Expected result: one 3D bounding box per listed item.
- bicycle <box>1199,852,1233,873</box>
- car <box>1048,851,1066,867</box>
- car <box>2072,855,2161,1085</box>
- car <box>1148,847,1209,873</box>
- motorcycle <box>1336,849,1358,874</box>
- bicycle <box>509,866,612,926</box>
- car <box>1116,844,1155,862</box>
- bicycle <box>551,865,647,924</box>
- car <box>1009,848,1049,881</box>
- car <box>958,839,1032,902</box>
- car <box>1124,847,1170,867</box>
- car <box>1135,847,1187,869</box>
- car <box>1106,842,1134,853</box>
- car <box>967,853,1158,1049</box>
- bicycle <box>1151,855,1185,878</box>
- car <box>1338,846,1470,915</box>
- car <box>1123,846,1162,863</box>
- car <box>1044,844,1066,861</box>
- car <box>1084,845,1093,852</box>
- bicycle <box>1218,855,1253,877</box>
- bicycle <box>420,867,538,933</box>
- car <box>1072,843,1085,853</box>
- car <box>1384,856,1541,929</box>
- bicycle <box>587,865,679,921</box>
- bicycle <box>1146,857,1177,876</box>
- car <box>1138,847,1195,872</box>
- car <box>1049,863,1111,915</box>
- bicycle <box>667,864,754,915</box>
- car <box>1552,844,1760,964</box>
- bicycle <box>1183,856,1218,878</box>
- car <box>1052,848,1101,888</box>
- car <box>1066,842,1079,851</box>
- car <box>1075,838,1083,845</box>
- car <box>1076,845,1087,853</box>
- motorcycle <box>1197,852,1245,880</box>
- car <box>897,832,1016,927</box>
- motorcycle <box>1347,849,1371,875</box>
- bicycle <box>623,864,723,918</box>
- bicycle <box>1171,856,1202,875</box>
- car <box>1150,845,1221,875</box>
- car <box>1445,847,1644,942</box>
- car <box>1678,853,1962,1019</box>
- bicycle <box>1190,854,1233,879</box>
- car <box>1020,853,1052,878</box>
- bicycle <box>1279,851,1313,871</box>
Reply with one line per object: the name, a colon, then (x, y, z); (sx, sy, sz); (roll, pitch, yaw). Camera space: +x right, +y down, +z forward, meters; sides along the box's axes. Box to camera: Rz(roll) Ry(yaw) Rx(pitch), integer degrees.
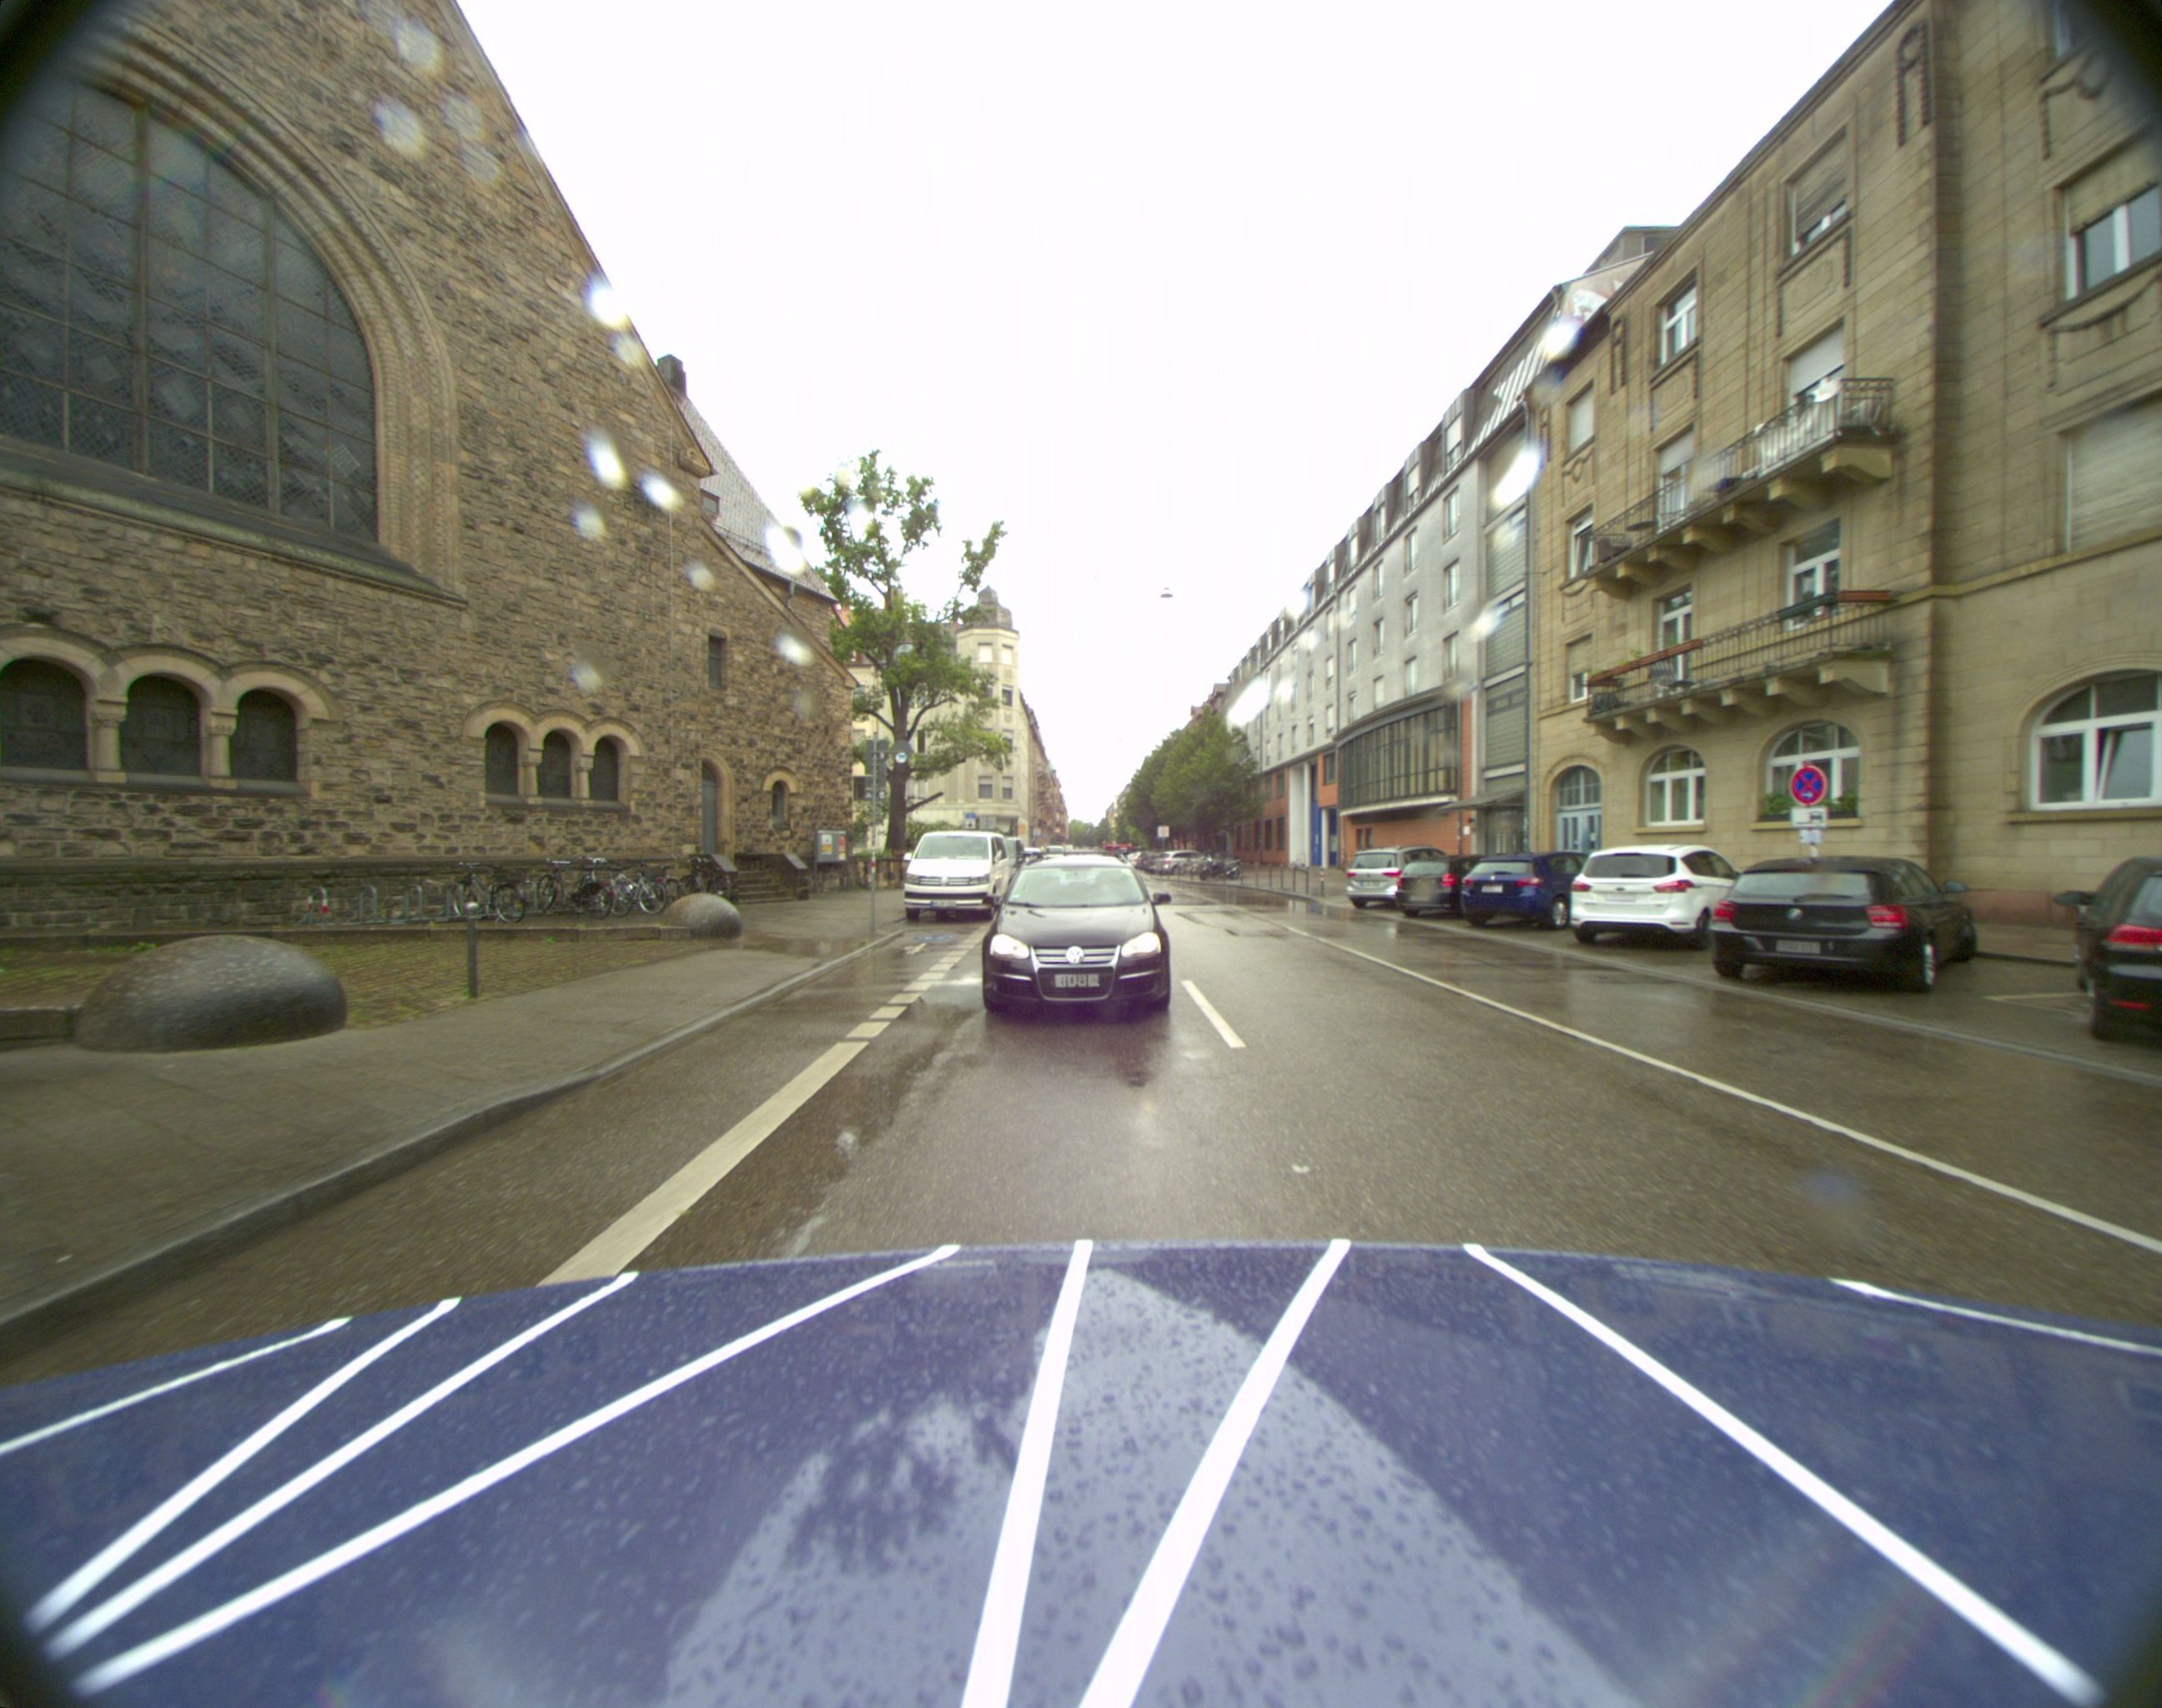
bicycle: (7.234, 0.461, 40.783); (1.688, 1.067, 0.544); (1, 1, -3)
car: (-1.976, 0.372, 63.069); (1.356, 1.285, 3.013); (1, 1, 1)
car: (9.585, 0.832, 6.246); (3.766, 1.535, 1.624); (-2, 1, -39)
car: (6.780, 0.410, 52.906); (3.803, 1.705, 1.998); (1, 1, -10)
motorcycle: (13.589, 0.358, 38.822); (0.546, 1.221, 1.676); (1, 1, 1)
bicycle: (-9.872, 0.771, 14.415); (1.924, 1.054, 0.582); (1, 1, 20)
car: (6.401, -0.120, 89.250); (4.006, 2.002, 1.995); (0, 1, -28)
bicycle: (-9.533, 0.779, 15.022); (1.923, 1.054, 0.582); (1, 1, 22)
car: (-2.556, 0.469, 37.841); (1.674, 1.540, 3.918); (1, 1, 1)
car: (-2.690, 0.471, 24.669); (1.837, 1.835, 4.295); (1, 1, 1)
car: (5.956, 0.261, 68.877); (3.803, 1.705, 1.998); (1, 1, -10)
car: (6.432, 0.333, 61.569); (3.803, 1.705, 1.998); (1, 1, -10)
car: (6.028, -1.043, 117.000); (3.809, 1.705, 1.995); (0, 1, -33)
car: (-0.132, 0.791, 8.248); (1.547, 1.553, 4.070); (1, 1, 1)
bicycle: (4.732, 0.689, 41.544); (1.688, 1.067, 0.544); (-5, 1, -2)
car: (9.020, 0.655, 21.095); (3.931, 1.720, 1.811); (0, 1, -41)
car: (6.508, 0.063, 80.818); (3.803, 1.705, 1.904); (1, 1, -10)
car: (-2.331, -0.142, 70.182); (1.922, 1.470, 4.220); (1, 1, -1)
car: (1.814, -1.290, 184.107); (1.998, 1.705, 4.375); (1, 1, 4)
bicycle: (8.152, 0.633, 40.013); (1.688, 1.067, 0.544); (-2, 1, -3)
bicycle: (-10.458, 0.782, 13.205); (2.005, 1.043, 0.577); (1, 1, 18)
car: (-0.495, -1.079, 133.843); (1.998, 1.705, 3.803); (1, 1, 4)
car: (9.089, 0.833, 18.016); (3.734, 1.519, 1.713); (0, 1, -35)
bicycle: (-9.248, 0.782, 15.670); (1.923, 1.054, 0.582); (1, 1, 22)
bicycle: (4.748, 0.733, 44.746); (1.688, 1.067, 0.544); (3, 1, -3)
car: (6.273, 0.398, 55.983); (3.803, 1.705, 1.998); (1, 1, -10)
car: (-0.012, 0.920, 21.025); (1.547, 1.214, 3.607); (1, 1, 1)
bicycle: (-8.364, 0.779, 17.129); (1.978, 1.060, 0.607); (1, 1, 23)
car: (9.568, 0.706, 12.563); (3.734, 1.617, 1.774); (-2, 1, -37)
bicycle: (6.296, 0.680, 40.028); (1.688, 1.067, 0.544); (-2, 1, -3)
car: (-0.161, 0.503, 29.534); (1.766, 1.430, 3.748); (1, 1, 1)
car: (-1.647, -1.376, 147.913); (1.998, 1.705, 3.803); (1, 1, 4)
car: (-0.478, -3.183, 192.241); (1.837, 1.827, 4.001); (1, 1, 4)
car: (0.086, -1.203, 169.359); (1.998, 1.705, 4.375); (1, 1, 4)
motorcycle: (7.005, 0.597, 38.095); (2.255, 1.302, 0.758); (-2, 1, 1)
car: (-2.762, 0.488, 18.094); (1.909, 1.911, 5.272); (1, 1, 1)
motorcycle: (13.562, 0.392, 37.056); (0.546, 1.221, 1.676); (1, 1, 1)
bicycle: (-8.794, 0.770, 16.357); (2.150, 1.054, 0.679); (1, 1, 22)
bicycle: (6.075, 0.667, 43.793); (1.688, 1.067, 0.544); (0, 1, -3)
car: (6.632, 0.359, 48.189); (4.006, 1.804, 1.995); (0, 1, -26)
car: (9.398, 0.708, 15.379); (3.732, 1.519, 1.897); (-4, 3, -30)
car: (9.115, 0.822, 9.307); (3.733, 1.535, 1.774); (-2, 1, -34)
bicycle: (6.697, 0.642, 39.065); (2.049, 1.165, 0.773); (-2, 1, -3)
car: (-2.529, 0.612, 43.269); (1.558, 1.285, 3.662); (1, 1, 1)
bicycle: (13.463, 0.426, 47.665); (1.901, 1.217, 0.938); (1, 1, 26)
